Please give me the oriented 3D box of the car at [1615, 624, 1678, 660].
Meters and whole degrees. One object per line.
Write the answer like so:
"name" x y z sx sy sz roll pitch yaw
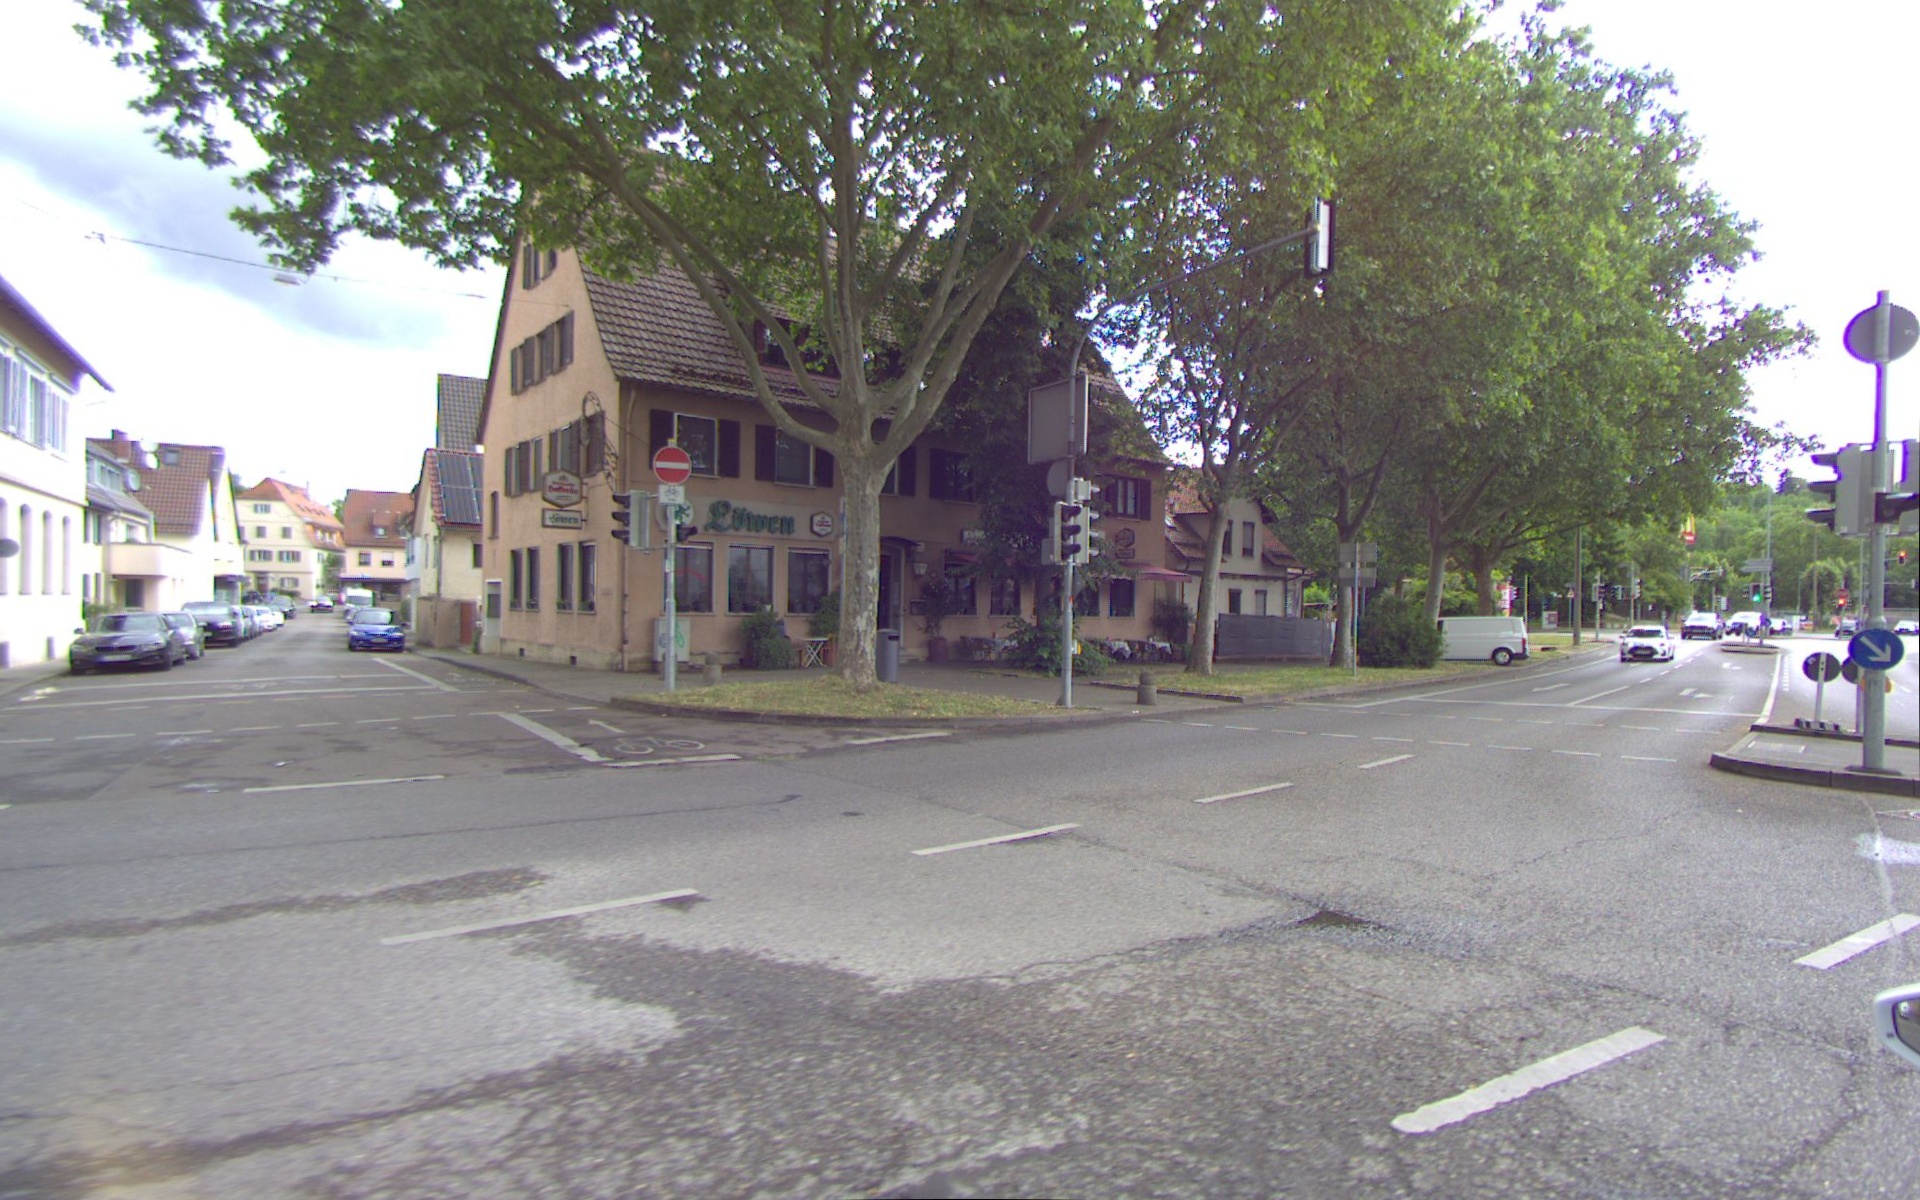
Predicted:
"car" 30.031 1.835 43.914 1.743 1.485 4.000 -1 -2 42

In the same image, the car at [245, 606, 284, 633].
"car" -41.020 1.135 59.234 1.810 1.534 3.632 2 -1 -35

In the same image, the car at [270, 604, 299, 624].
"car" -55.188 1.128 82.043 1.810 1.534 3.632 2 0 -35

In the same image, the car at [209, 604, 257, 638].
"car" -35.299 1.020 48.823 1.810 1.534 3.632 2 0 -35

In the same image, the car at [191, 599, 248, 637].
"car" -31.418 0.740 42.691 1.810 1.534 3.632 2 0 -35

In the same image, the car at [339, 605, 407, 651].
"car" -21.270 0.983 36.360 1.810 1.534 3.632 2 0 -35

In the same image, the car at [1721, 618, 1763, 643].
"car" 59.361 2.285 76.224 4.720 1.787 1.892 0 0 -44

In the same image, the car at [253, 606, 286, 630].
"car" -47.440 1.226 68.984 1.810 1.534 3.632 2 -1 -35

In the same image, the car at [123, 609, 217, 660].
"car" -22.775 0.968 29.076 1.693 1.332 3.831 2 -1 -32

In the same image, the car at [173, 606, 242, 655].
"car" -28.010 1.111 37.462 1.727 1.706 3.809 2 -1 -33

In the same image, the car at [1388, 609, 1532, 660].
"car" 20.390 1.413 41.109 5.147 1.956 2.081 -1 -2 28

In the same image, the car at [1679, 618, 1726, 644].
"car" 48.107 1.998 65.058 1.778 1.608 4.387 -2 -2 45

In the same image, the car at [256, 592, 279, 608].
"car" -69.994 0.044 101.489 1.810 1.534 3.632 2 -1 -35

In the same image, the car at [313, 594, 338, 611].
"car" -60.271 0.198 95.341 1.810 1.534 3.632 2 -1 -35

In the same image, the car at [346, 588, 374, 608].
"car" -51.638 -0.167 86.395 1.810 1.598 3.632 2 -1 -35
